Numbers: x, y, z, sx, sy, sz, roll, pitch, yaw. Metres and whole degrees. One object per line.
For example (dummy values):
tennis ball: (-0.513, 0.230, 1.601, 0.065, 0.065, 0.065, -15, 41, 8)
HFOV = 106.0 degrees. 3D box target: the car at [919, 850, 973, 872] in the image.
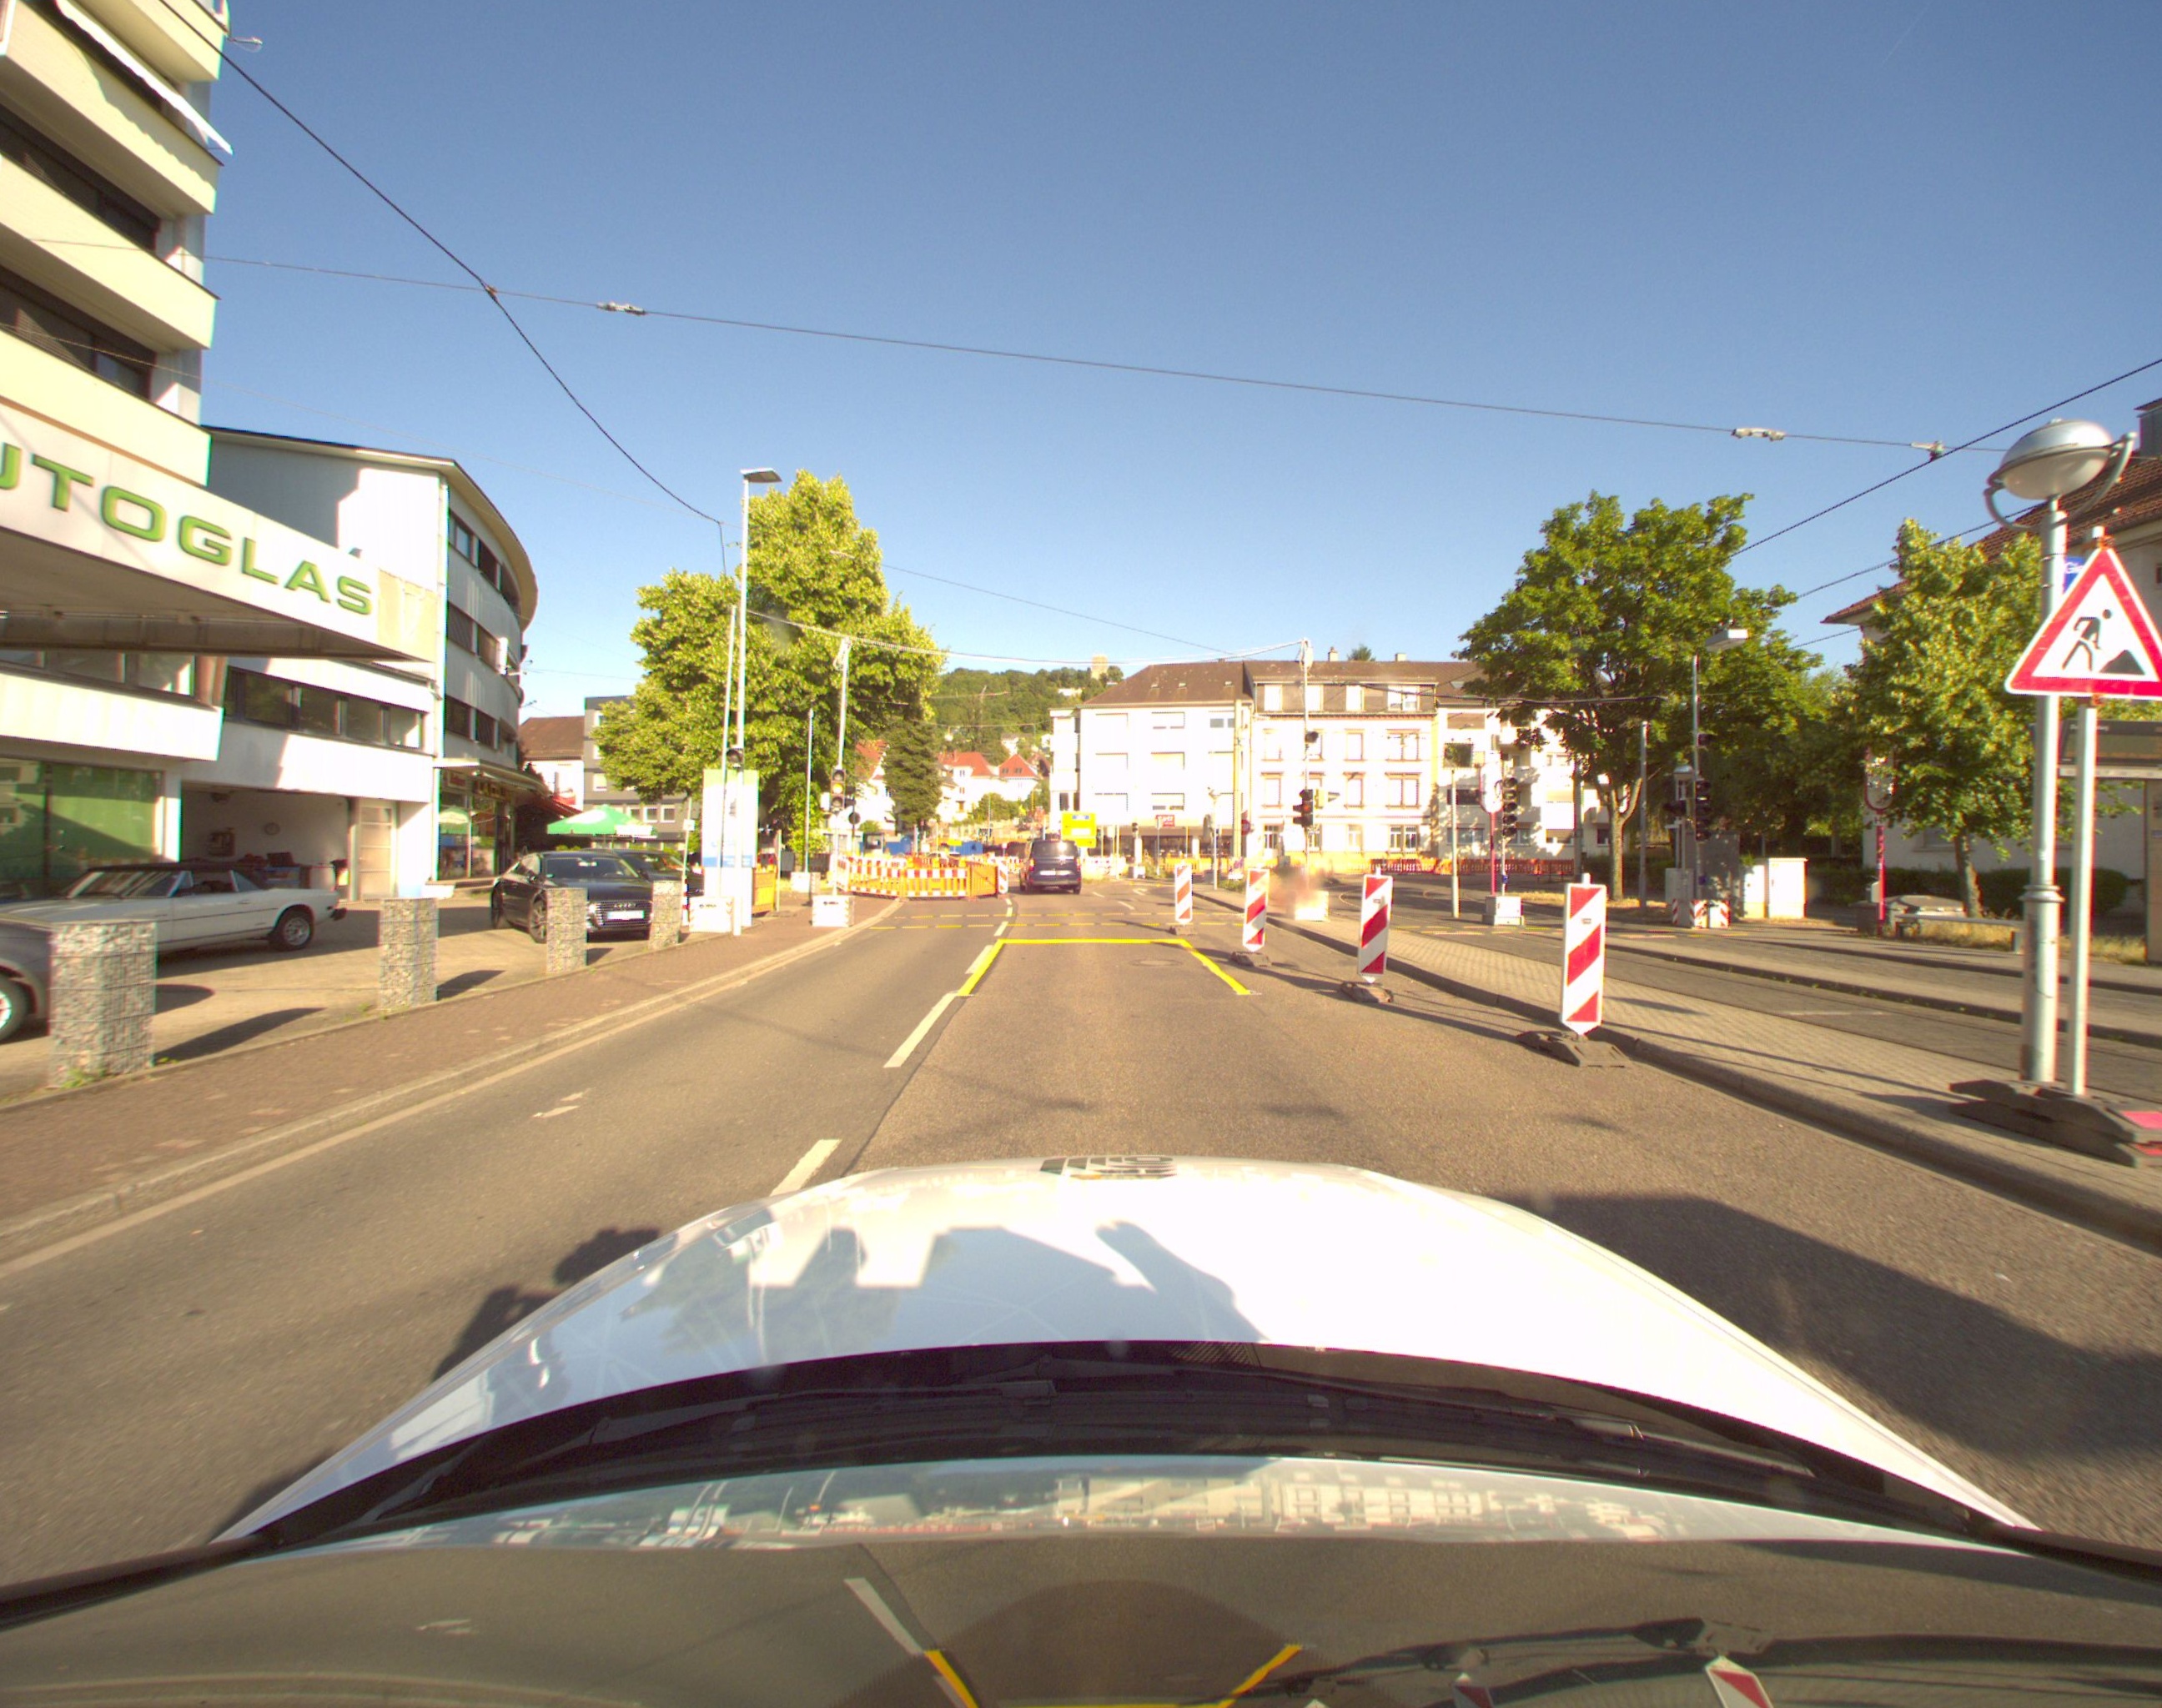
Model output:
car: (-9.098, 0.468, 54.641, 1.809, 1.409, 3.953, 0, 0, -39)

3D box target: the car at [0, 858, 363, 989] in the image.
car: (-11.797, 0.733, 10.521, 1.584, 1.284, 4.133, 0, 1, -4)

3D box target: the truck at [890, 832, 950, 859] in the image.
truck: (-15.560, -0.789, 79.536, 2.340, 2.415, 9.181, 0, 0, 12)

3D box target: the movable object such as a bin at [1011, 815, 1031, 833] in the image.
movable object such as a bin: (-9.147, -4.551, 124.701, 2.177, 2.690, 4.012, 0, 0, 11)

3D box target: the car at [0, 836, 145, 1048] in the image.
car: (-9.255, 0.640, 5.722, 1.601, 1.568, 3.415, 0, -1, 38)

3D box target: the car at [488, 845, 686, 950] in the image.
car: (-8.544, 0.622, 13.914, 1.922, 1.454, 4.260, 1, 0, -45)

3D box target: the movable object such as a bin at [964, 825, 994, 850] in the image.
movable object such as a bin: (-11.228, -1.765, 90.119, 2.177, 2.690, 4.012, 0, 0, 11)

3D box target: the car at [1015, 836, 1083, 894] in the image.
car: (-1.293, 0.376, 30.847, 2.061, 2.013, 4.985, 0, 0, -8)

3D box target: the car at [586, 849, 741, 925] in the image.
car: (-9.430, 0.663, 18.263, 4.245, 1.454, 1.660, 1, 0, 42)
